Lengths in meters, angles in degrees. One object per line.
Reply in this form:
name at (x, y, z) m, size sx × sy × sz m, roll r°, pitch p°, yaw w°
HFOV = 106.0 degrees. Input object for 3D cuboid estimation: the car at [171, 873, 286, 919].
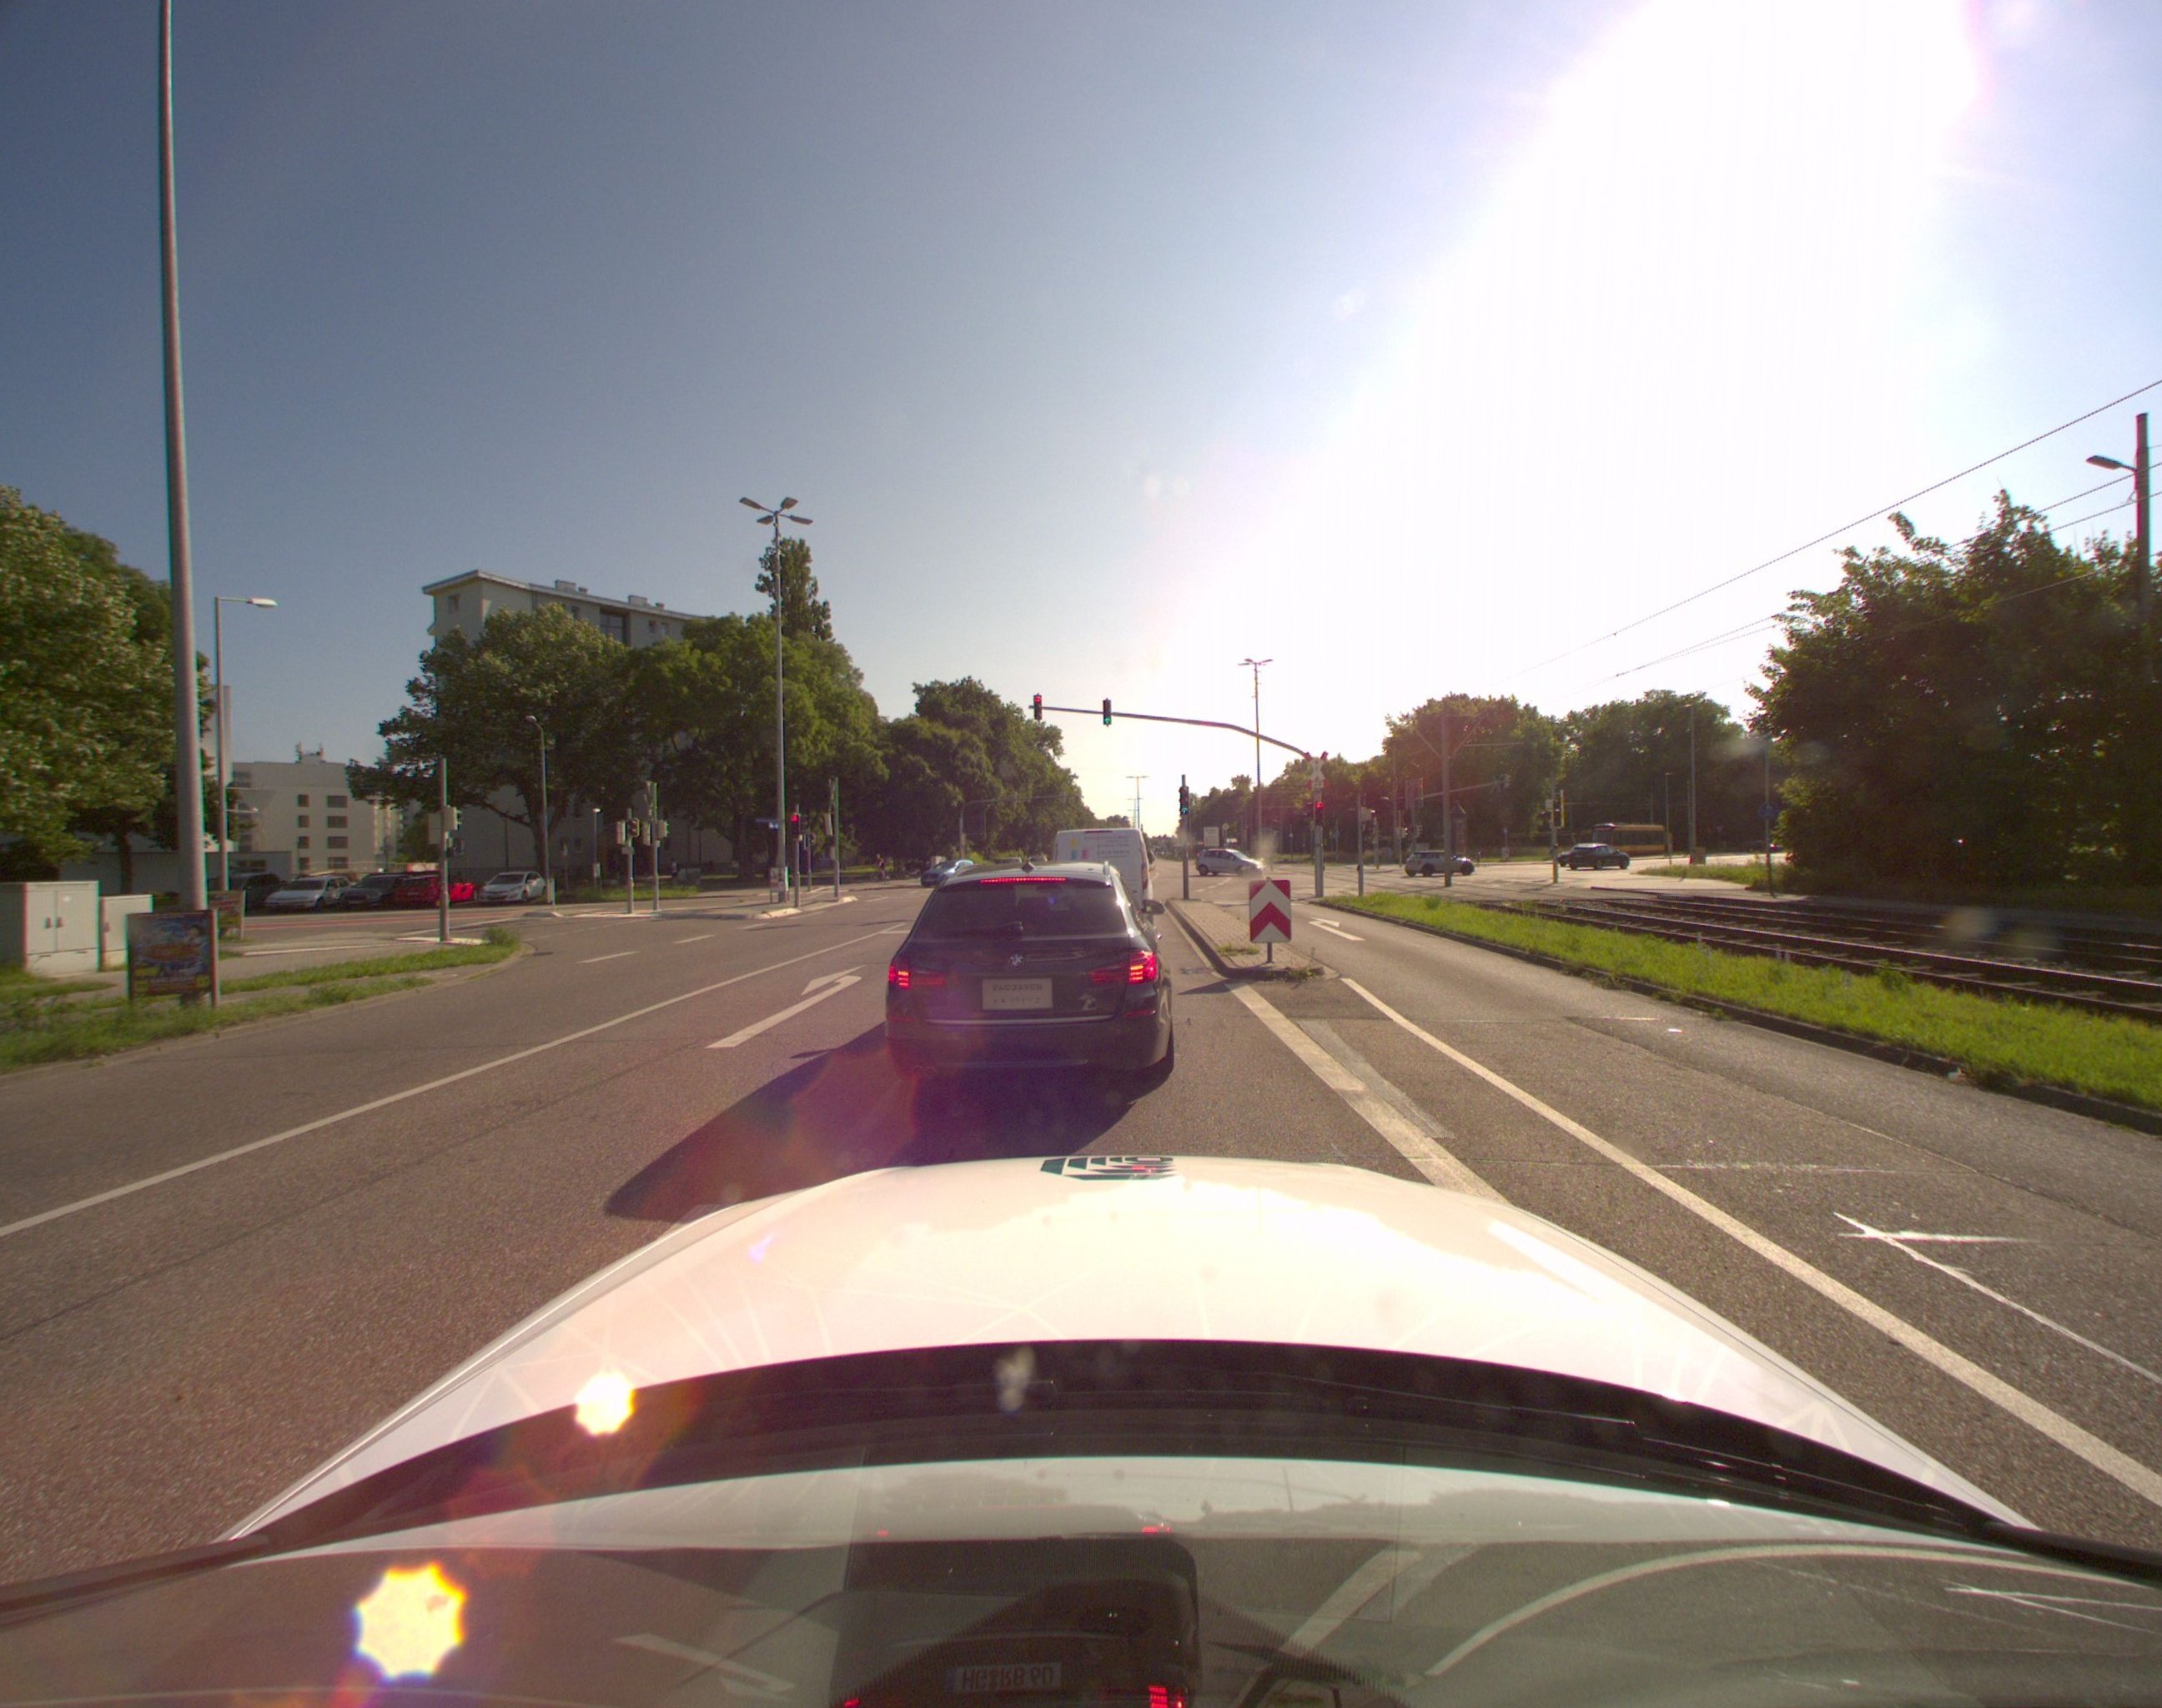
car at (-38.068, 1.822, 36.504) m, size 1.783 × 1.811 × 3.977 m, roll -1°, pitch 0°, yaw -16°

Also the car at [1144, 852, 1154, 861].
car at (12.548, 0.469, 150.880) m, size 1.785 × 1.486 × 3.903 m, roll -1°, pitch 0°, yaw 3°

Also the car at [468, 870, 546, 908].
car at (-27.910, 1.657, 39.754) m, size 1.783 × 1.439 × 3.980 m, roll -1°, pitch 3°, yaw -15°

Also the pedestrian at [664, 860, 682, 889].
pedestrian at (-25.148, 1.258, 50.215) m, size 0.619 × 1.713 × 0.707 m, roll -1°, pitch 1°, yaw 14°

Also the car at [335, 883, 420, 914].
car at (-32.782, 2.048, 38.072) m, size 1.463 × 1.193 × 3.767 m, roll -1°, pitch 0°, yaw -15°

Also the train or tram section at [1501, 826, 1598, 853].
train or tram section at (67.331, -1.971, 117.544) m, size 3.064 × 3.579 × 12.108 m, roll -1°, pitch 0°, yaw -31°

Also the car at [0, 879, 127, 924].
car at (-44.374, 2.006, 35.205) m, size 1.785 × 1.477 × 4.785 m, roll -1°, pitch 3°, yaw -19°

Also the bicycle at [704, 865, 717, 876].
bicycle at (-31.036, 1.360, 68.215) m, size 0.673 × 0.919 × 2.382 m, roll -1°, pitch 0°, yaw -33°

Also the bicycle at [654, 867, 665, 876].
bicycle at (-34.316, 1.428, 66.221) m, size 0.587 × 0.708 × 2.215 m, roll -1°, pitch 0°, yaw -33°

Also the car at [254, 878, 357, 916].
car at (-35.422, 1.927, 37.339) m, size 1.783 × 1.521 × 3.977 m, roll -1°, pitch 0°, yaw -16°

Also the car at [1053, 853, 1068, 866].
car at (-2.541, 0.726, 101.194) m, size 1.783 × 1.520 × 4.000 m, roll -2°, pitch 0°, yaw 0°

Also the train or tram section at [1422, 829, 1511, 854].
train or tram section at (59.996, -1.835, 126.932) m, size 12.072 × 3.579 × 3.073 m, roll -1°, pitch 0°, yaw 38°

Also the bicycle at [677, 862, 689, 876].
bicycle at (-32.693, 1.218, 66.916) m, size 0.615 × 1.066 × 1.896 m, roll 0°, pitch -2°, yaw -34°

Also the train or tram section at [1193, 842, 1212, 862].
train or tram section at (22.874, -0.381, 153.764) m, size 2.782 × 3.618 × 12.976 m, roll 0°, pitch 0°, yaw 6°

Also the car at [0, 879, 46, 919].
car at (-46.087, 2.012, 33.652) m, size 1.785 × 1.476 × 4.686 m, roll -1°, pitch 3°, yaw -19°

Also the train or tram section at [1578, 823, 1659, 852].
train or tram section at (69.654, -2.058, 106.037) m, size 3.031 × 3.579 × 12.241 m, roll -1°, pitch 0°, yaw 3°

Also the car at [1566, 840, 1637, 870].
car at (33.606, 0.021, 52.541) m, size 4.630 × 1.722 × 1.636 m, roll -2°, pitch 1°, yaw -25°

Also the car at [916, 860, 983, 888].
car at (-7.347, 1.092, 45.891) m, size 1.764 × 1.414 × 4.267 m, roll -1°, pitch 0°, yaw 22°

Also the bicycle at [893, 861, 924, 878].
bicycle at (-11.643, 1.048, 55.067) m, size 1.902 × 1.119 × 0.632 m, roll -1°, pitch 0°, yaw 1°

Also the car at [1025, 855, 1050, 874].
car at (-3.828, 0.905, 71.786) m, size 1.738 × 1.562 × 4.003 m, roll -3°, pitch 0°, yaw 3°

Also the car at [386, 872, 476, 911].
car at (-30.835, 1.746, 38.811) m, size 1.782 × 1.415 × 3.982 m, roll -1°, pitch 4°, yaw -14°

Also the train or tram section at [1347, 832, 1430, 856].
train or tram section at (50.386, -1.663, 133.826) m, size 12.279 × 3.579 × 3.073 m, roll -1°, pitch 0°, yaw 33°

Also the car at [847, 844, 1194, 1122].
car at (-0.269, 0.713, 6.551) m, size 1.896 × 1.506 × 4.067 m, roll -1°, pitch 0°, yaw 2°

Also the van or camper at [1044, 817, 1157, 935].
van or camper at (0.485, 0.393, 17.004) m, size 1.985 × 2.096 × 4.602 m, roll -1°, pitch 0°, yaw 3°

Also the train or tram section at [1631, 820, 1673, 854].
train or tram section at (66.097, -1.908, 94.557) m, size 3.015 × 3.579 × 12.308 m, roll -1°, pitch 0°, yaw 31°

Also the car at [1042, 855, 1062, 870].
car at (-2.966, 0.904, 84.918) m, size 1.882 × 1.474 × 4.099 m, roll -2°, pitch 0°, yaw 0°

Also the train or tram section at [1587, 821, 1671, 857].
train or tram section at (57.944, -1.561, 85.969) m, size 11.898 × 3.579 × 3.022 m, roll -1°, pitch 0°, yaw -34°

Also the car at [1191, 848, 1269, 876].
car at (8.898, 0.474, 48.803) m, size 4.149 × 1.562 × 1.868 m, roll -1°, pitch 0°, yaw 37°

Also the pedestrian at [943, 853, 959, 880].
pedestrian at (-8.760, 0.849, 54.811) m, size 0.811 × 1.752 × 0.933 m, roll -1°, pitch 0°, yaw 7°

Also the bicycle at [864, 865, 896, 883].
bicycle at (-12.279, 1.225, 49.749) m, size 0.614 × 1.040 × 2.084 m, roll -1°, pitch 0°, yaw 28°

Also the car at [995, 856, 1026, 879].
car at (-4.974, 0.925, 57.650) m, size 1.697 × 1.465 × 4.370 m, roll -3°, pitch 0°, yaw 1°

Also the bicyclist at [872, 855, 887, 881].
bicyclist at (-12.308, 0.863, 49.709) m, size 0.601 × 1.560 × 0.606 m, roll -1°, pitch 0°, yaw 28°

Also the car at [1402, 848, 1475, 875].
car at (20.106, 0.410, 45.838) m, size 3.520 × 1.383 × 1.600 m, roll -1°, pitch 0°, yaw -11°
